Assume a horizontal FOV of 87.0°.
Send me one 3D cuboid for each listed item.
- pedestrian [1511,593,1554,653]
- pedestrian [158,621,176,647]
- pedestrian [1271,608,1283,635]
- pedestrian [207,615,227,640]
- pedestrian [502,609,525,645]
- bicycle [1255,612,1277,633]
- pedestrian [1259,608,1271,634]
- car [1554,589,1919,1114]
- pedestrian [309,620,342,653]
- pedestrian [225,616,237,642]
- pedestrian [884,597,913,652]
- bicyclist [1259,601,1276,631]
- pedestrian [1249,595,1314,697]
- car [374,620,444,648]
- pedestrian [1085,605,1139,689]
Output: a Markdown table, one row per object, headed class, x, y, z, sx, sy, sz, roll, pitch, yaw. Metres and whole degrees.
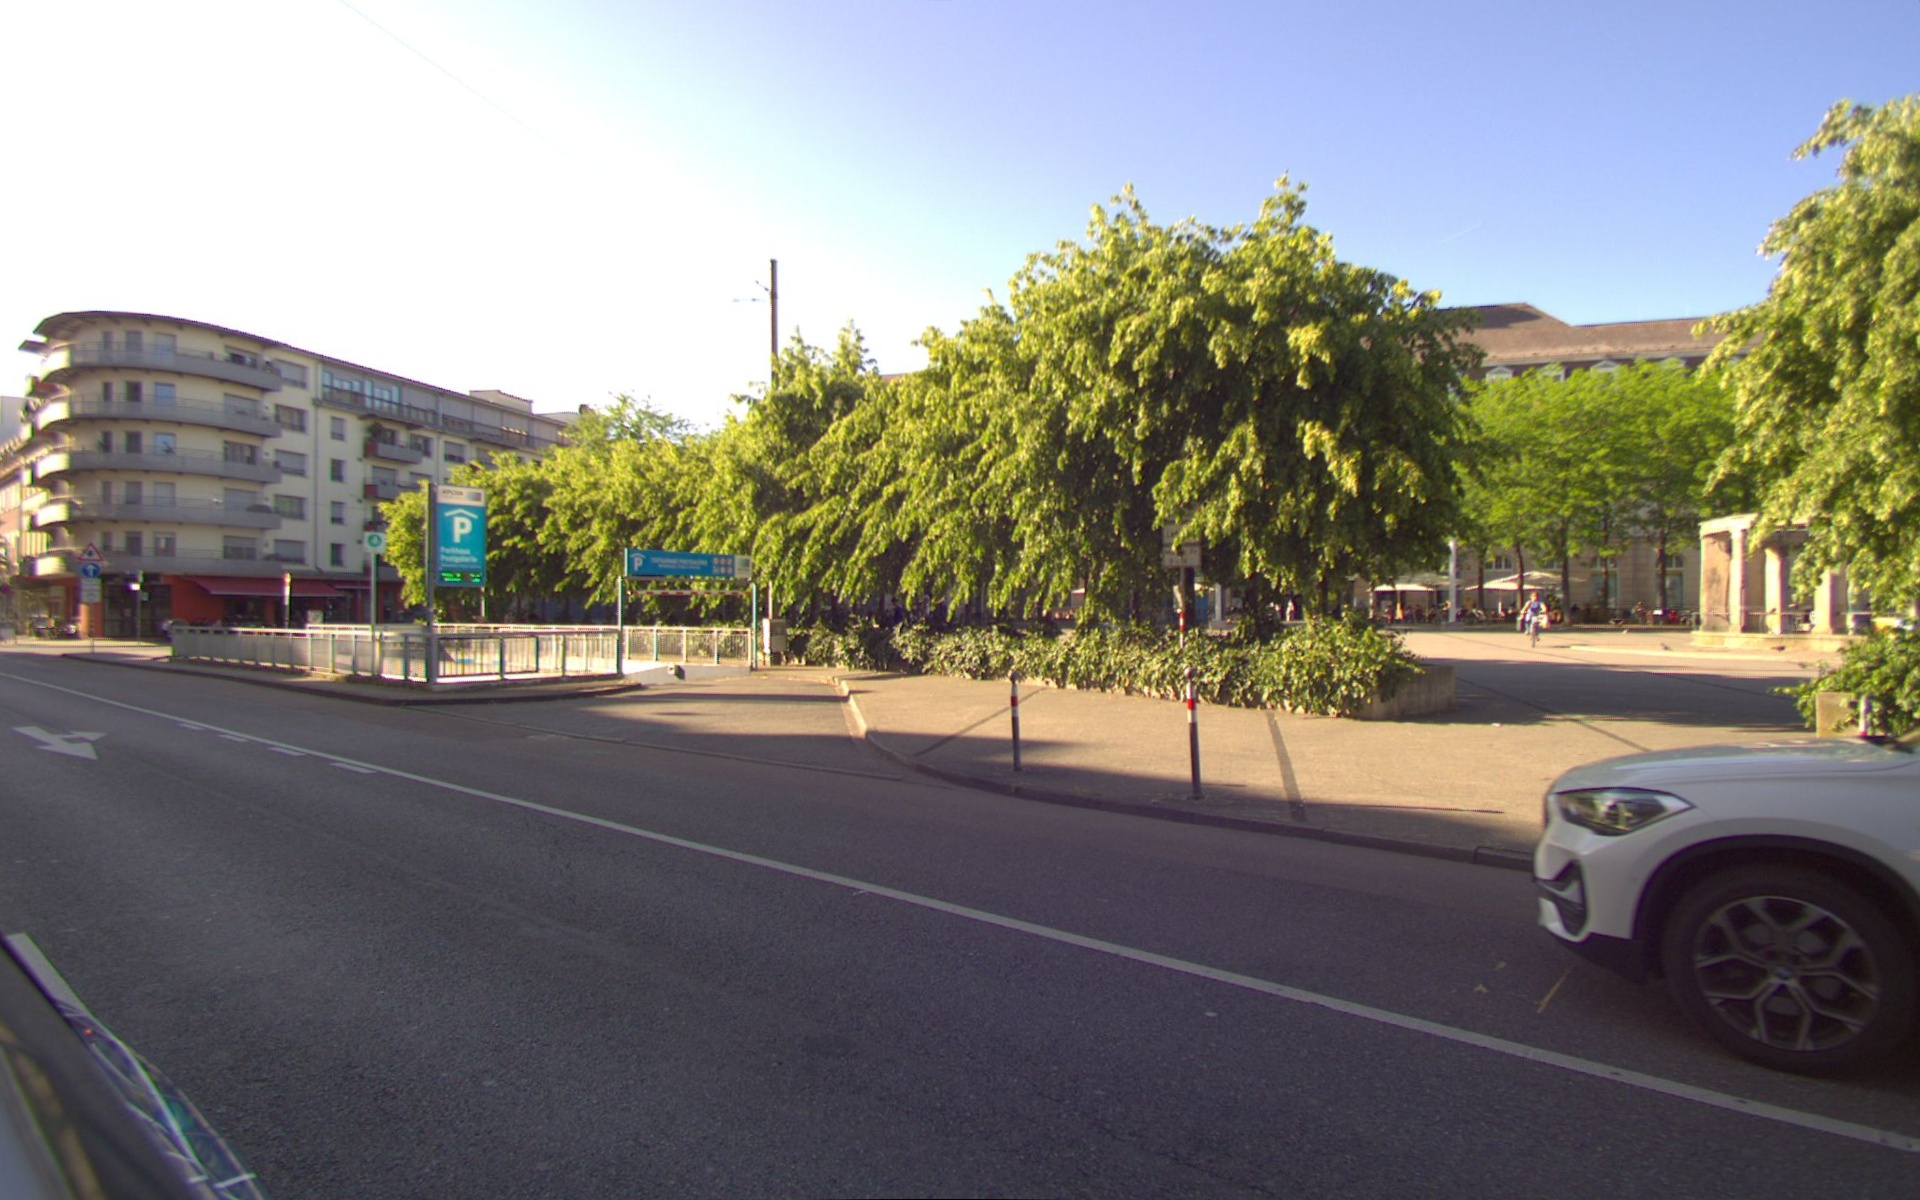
| class | x | y | z | sx | sy | sz | roll | pitch | yaw |
| --- | --- | --- | --- | --- | --- | --- | --- | --- | --- |
| pedestrian | 17.360 | 0.696 | 30.699 | 0.889 | 1.771 | 0.735 | -1 | -1 | 10 |
| pedestrian | -44.541 | 1.895 | 56.876 | 0.780 | 1.472 | 0.583 | 0 | -1 | -40 |
| pedestrian | 23.892 | 1.616 | 76.266 | 0.751 | 1.948 | 0.939 | -1 | -1 | 20 |
| pedestrian | -43.617 | 1.619 | 59.431 | 0.782 | 1.473 | 0.582 | -1 | -1 | 3 |
| pedestrian | -22.752 | 1.392 | 51.560 | 0.753 | 1.819 | 0.748 | -1 | -1 | 25 |
| bicycle | 14.738 | 1.067 | 48.684 | 0.587 | 0.961 | 1.887 | -1 | -1 | 30 |
| pedestrian | 23.119 | 1.567 | 76.734 | 0.751 | 1.948 | 0.939 | -1 | -1 | 20 |
| car | 4.377 | 0.769 | 2.990 | 4.305 | 1.567 | 1.789 | -2 | -4 | 39 |
| pedestrian | -39.178 | 2.256 | 62.464 | 1.251 | 2.029 | 1.226 | -1 | -1 | 19 |
| pedestrian | -42.192 | 1.662 | 58.557 | 0.573 | 1.501 | 0.794 | 0 | -1 | -36 |
| pedestrian | -1.923 | 0.761 | 31.769 | 0.672 | 1.683 | 0.843 | -1 | -1 | 13 |
| bicyclist | 14.789 | 0.762 | 48.669 | 0.670 | 1.439 | 0.691 | -1 | -2 | 30 |
| pedestrian | 5.790 | 0.813 | 18.231 | 0.885 | 1.771 | 0.738 | 0 | -1 | -39 |
| car | -37.443 | 2.277 | 68.884 | 1.983 | 1.763 | 3.978 | -1 | -1 | 17 |
| pedestrian | 3.312 | 1.003 | 22.047 | 0.885 | 1.771 | 0.738 | 0 | -1 | -39 |
